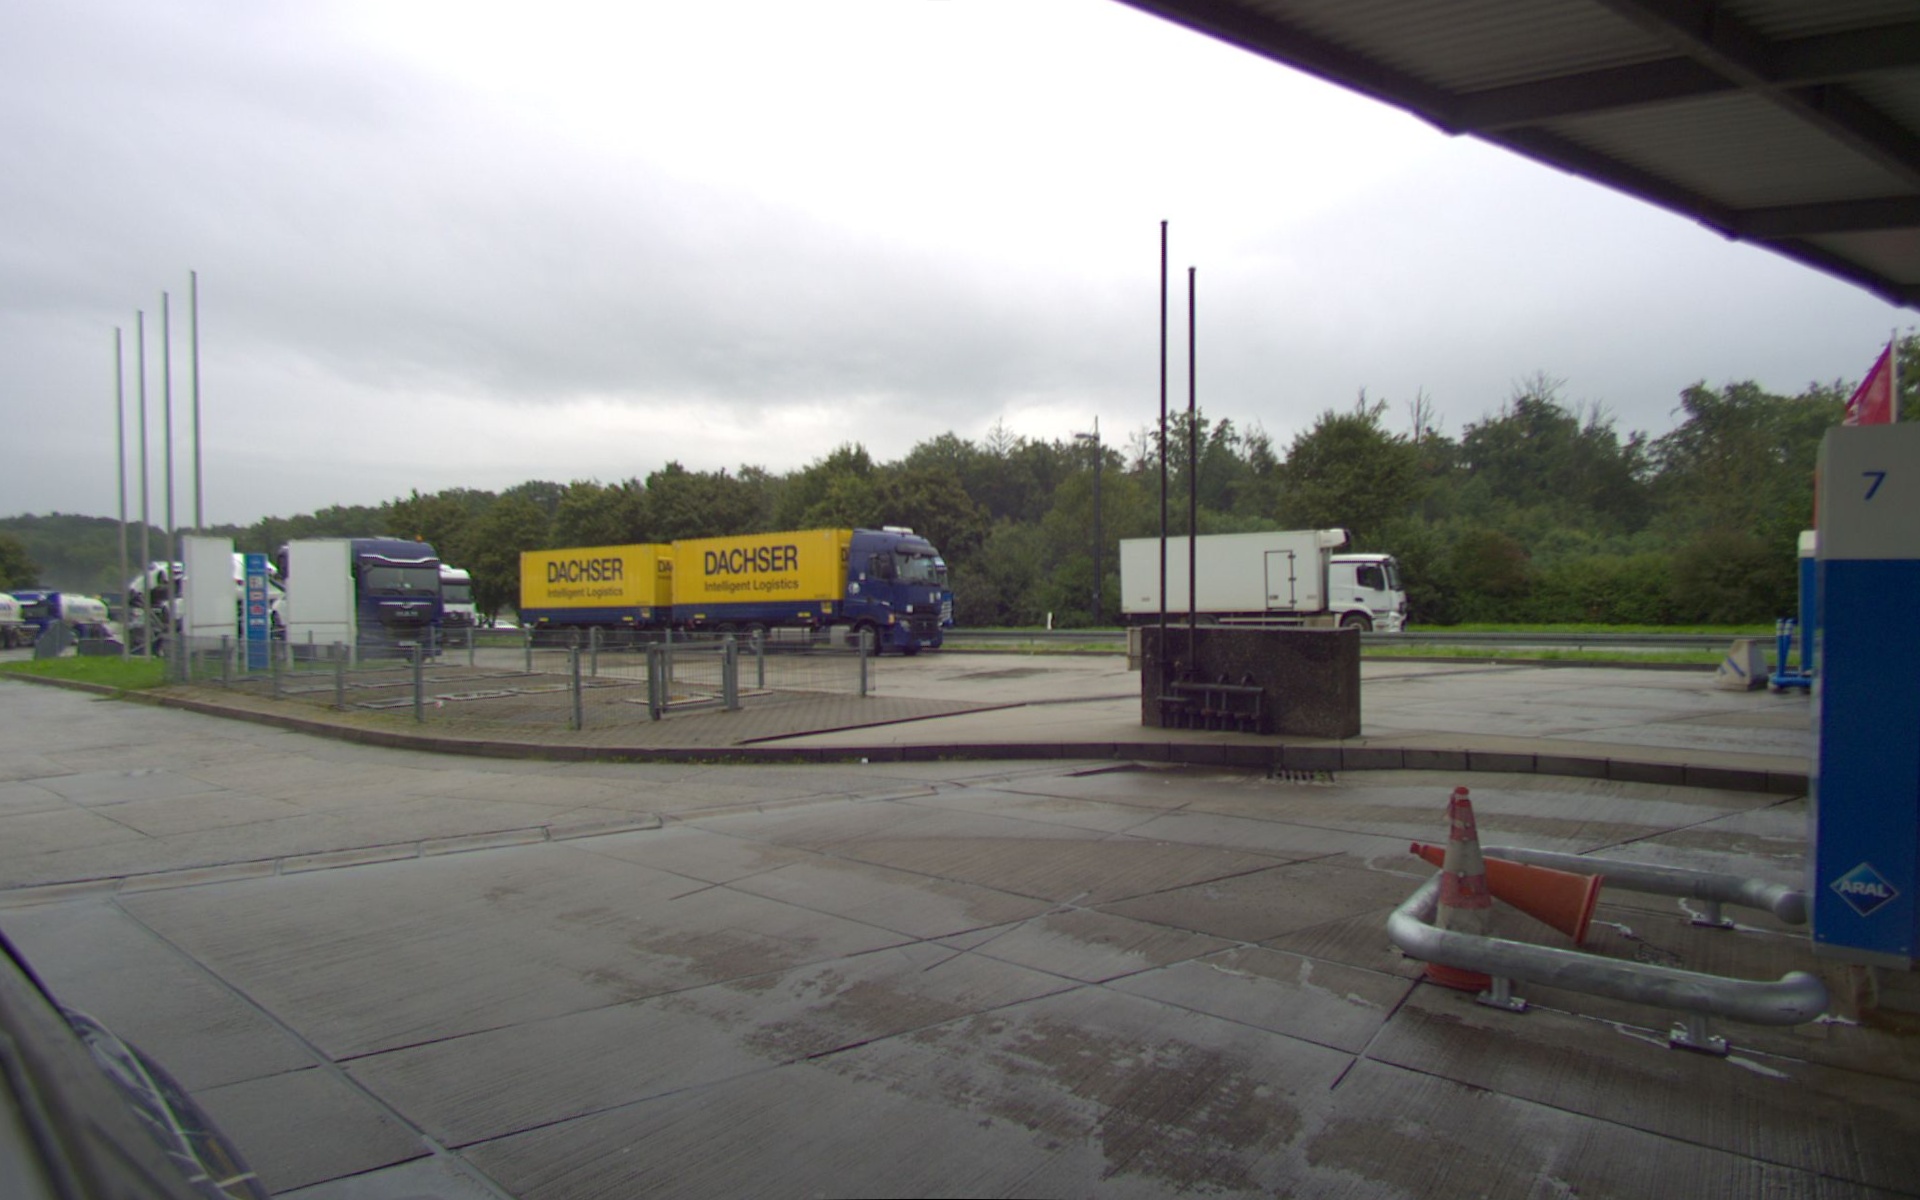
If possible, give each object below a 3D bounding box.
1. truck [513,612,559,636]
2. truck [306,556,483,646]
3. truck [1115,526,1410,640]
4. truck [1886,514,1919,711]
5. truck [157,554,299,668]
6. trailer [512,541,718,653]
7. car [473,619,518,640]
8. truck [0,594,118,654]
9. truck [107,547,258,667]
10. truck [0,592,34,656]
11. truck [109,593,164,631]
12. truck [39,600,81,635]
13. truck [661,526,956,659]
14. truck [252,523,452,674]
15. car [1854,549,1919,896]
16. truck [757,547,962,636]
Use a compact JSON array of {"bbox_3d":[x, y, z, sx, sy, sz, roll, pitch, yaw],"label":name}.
[{"bbox_3d":[-41.734,2.355,99.555,4.620,2.282,1.712,-1,0,30],"label":"truck"},{"bbox_3d":[-27.322,0.096,48.632,10.654,3.946,2.727,-1,0,33],"label":"truck"},{"bbox_3d":[10.966,-0.522,37.453,10.195,3.836,2.395,-1,0,31],"label":"truck"},{"bbox_3d":[14.990,0.122,11.959,5.859,2.513,2.208,-1,0,41],"label":"truck"},{"bbox_3d":[-26.110,0.389,36.077,4.738,3.800,2.635,-1,0,34],"label":"truck"},{"bbox_3d":[-13.503,-0.079,39.262,8.679,3.946,2.728,-1,0,32],"label":"trailer"},{"bbox_3d":[-44.095,2.765,96.091,4.355,1.904,1.712,-1,0,30],"label":"car"},{"bbox_3d":[-61.499,1.611,68.659,3.454,3.633,14.709,-1,-1,-27],"label":"truck"},{"bbox_3d":[-29.592,0.292,38.450,6.605,4.213,2.635,-1,0,35],"label":"truck"},{"bbox_3d":[-55.160,1.329,53.692,3.454,3.633,14.444,-1,-1,-19],"label":"truck"},{"bbox_3d":[-115.485,1.702,141.838,11.498,5.160,3.109,-1,0,36],"label":"truck"},{"bbox_3d":[-112.992,2.175,126.979,11.525,4.160,3.101,-1,0,44],"label":"truck"},{"bbox_3d":[-5.340,-0.183,34.033,10.654,3.946,2.727,-1,0,33],"label":"truck"},{"bbox_3d":[-19.012,0.005,31.481,7.089,4.213,2.635,-1,0,35],"label":"truck"},{"bbox_3d":[6.908,0.540,3.804,5.269,1.620,1.842,-1,0,41],"label":"car"},{"bbox_3d":[-4.883,-0.320,47.648,10.195,3.836,2.395,-1,0,31],"label":"truck"}]
